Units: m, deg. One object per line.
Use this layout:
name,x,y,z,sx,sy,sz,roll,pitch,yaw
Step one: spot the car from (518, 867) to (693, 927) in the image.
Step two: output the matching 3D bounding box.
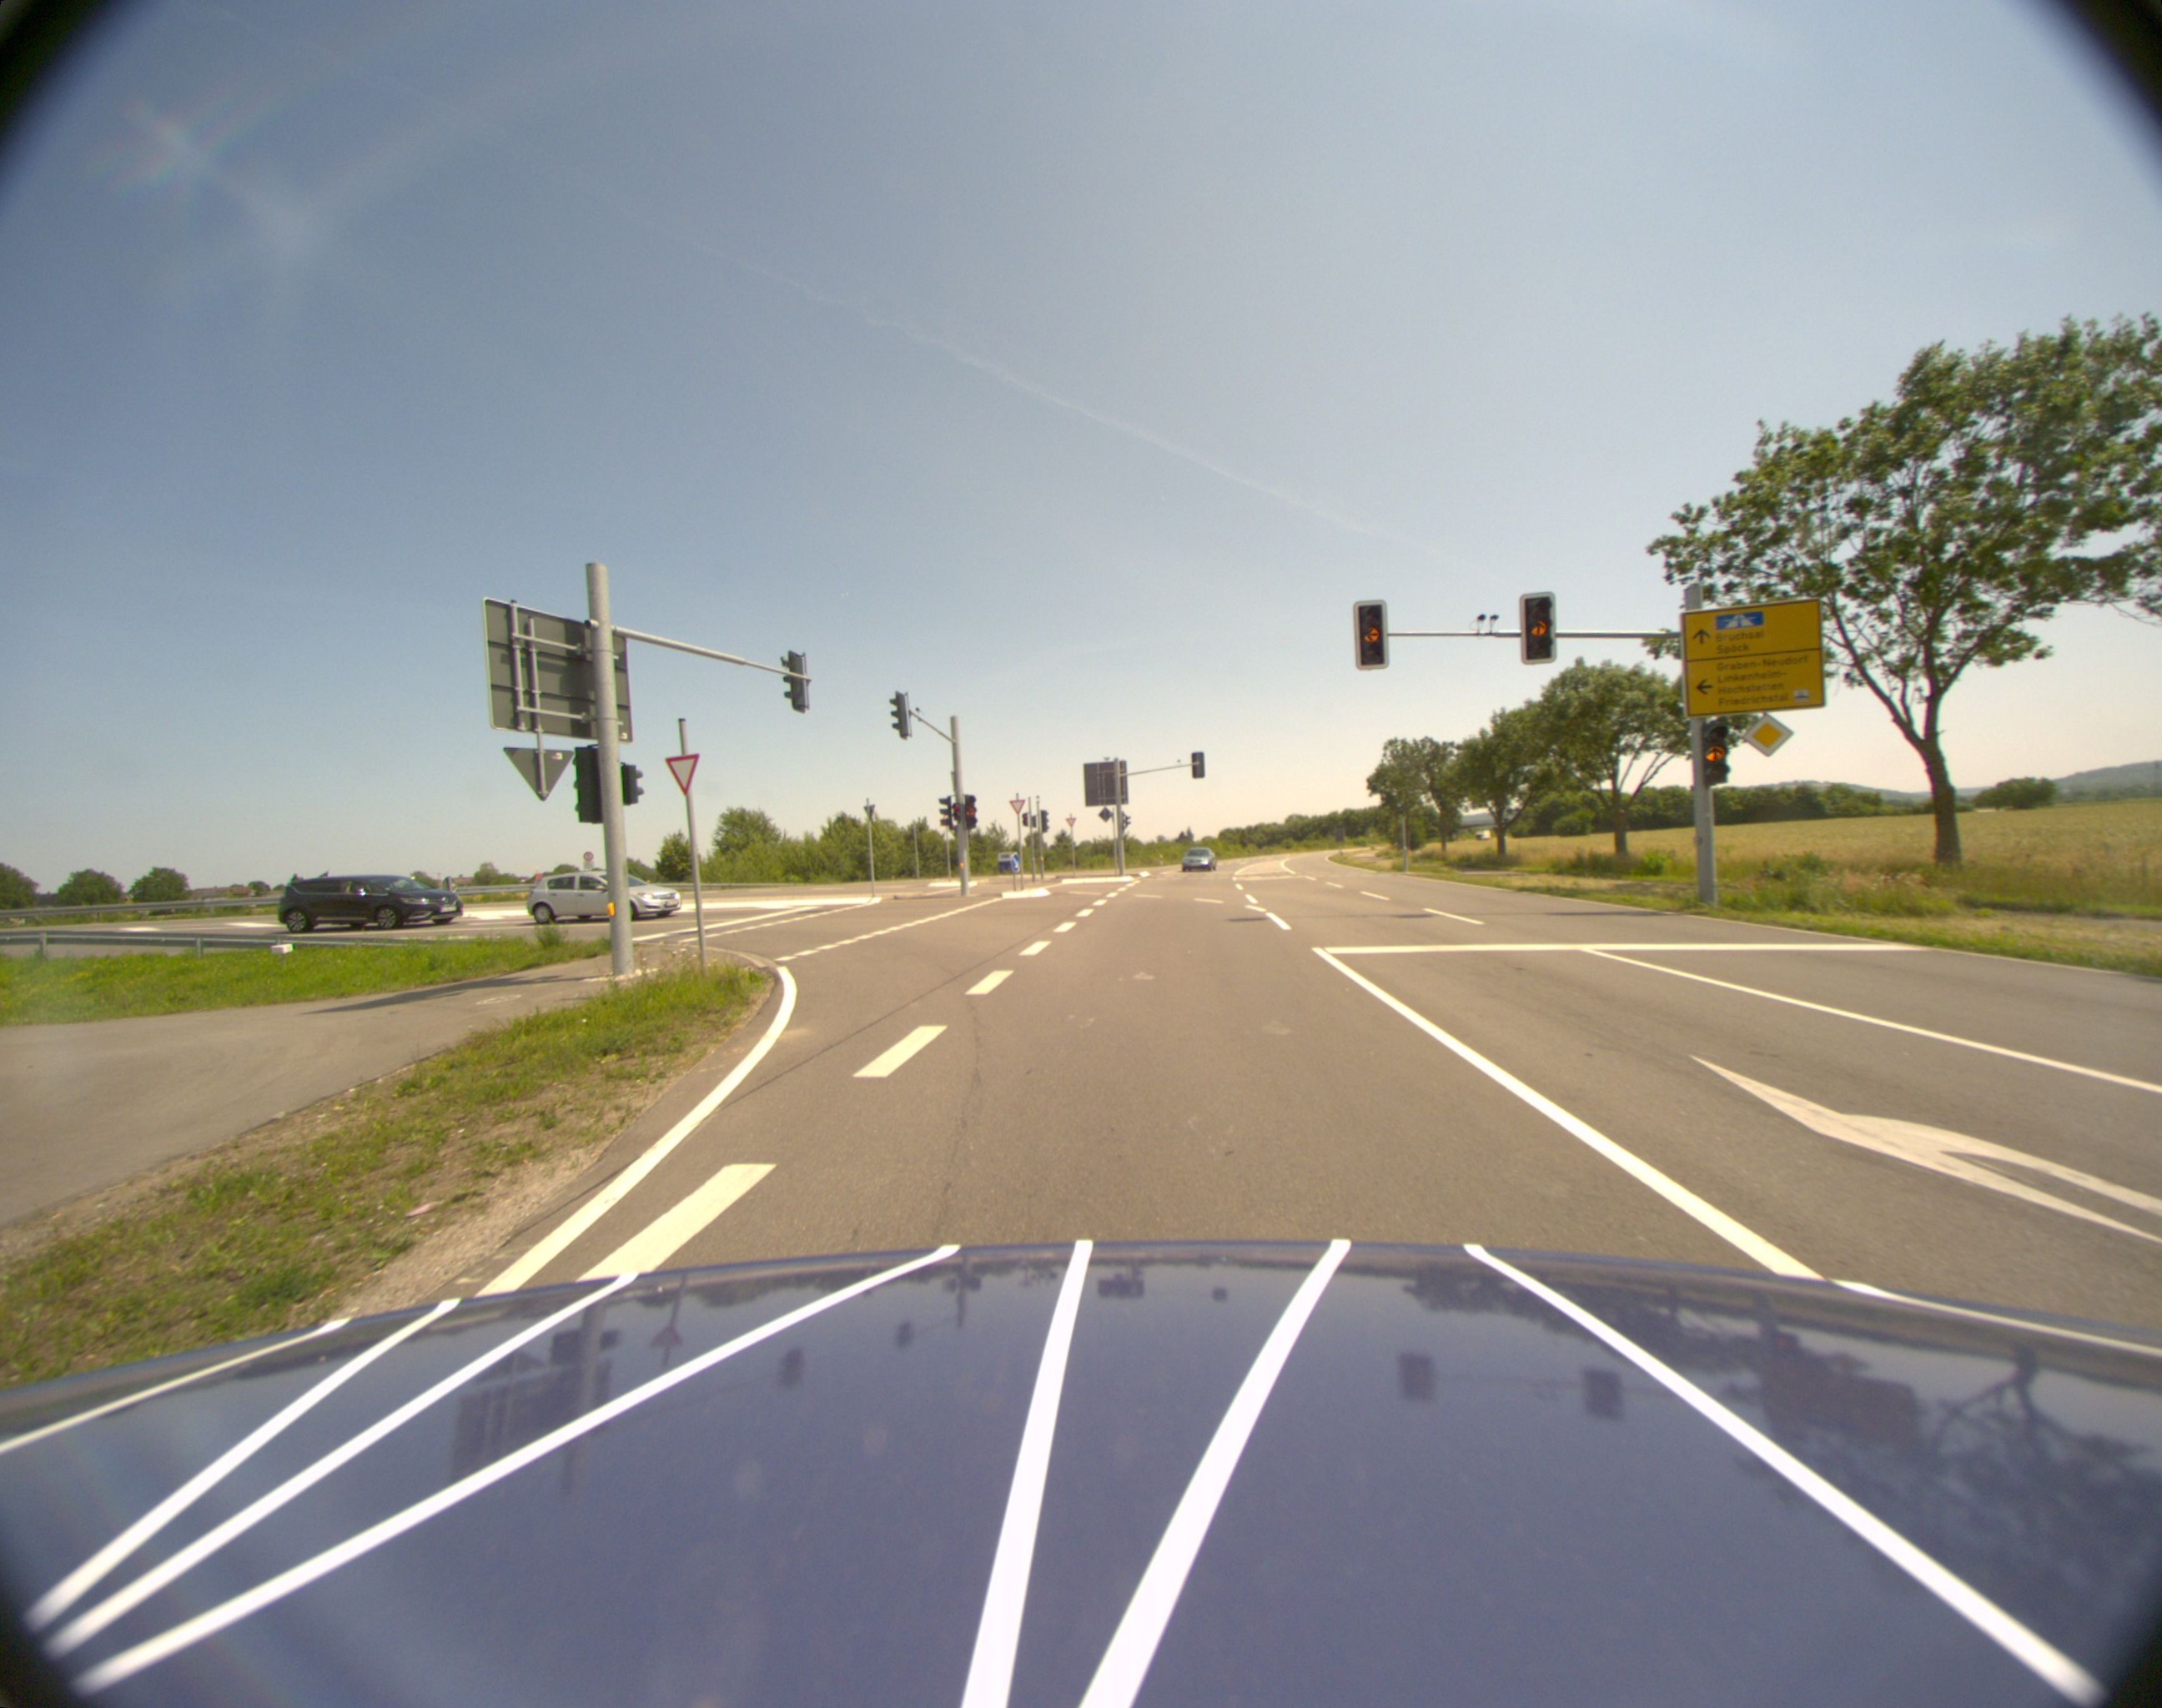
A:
car,-13.850,1.247,22.245,4.147,1.451,1.661,-3,1,7

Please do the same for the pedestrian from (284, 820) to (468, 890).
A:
pedestrian,-22.455,0.004,24.456,1.998,2.002,4.000,-2,1,2

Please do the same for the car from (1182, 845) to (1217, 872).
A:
car,7.325,0.244,46.672,1.655,1.557,4.004,-2,0,15

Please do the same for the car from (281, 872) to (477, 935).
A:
car,-21.305,1.480,23.156,4.521,1.631,1.814,-2,2,7
